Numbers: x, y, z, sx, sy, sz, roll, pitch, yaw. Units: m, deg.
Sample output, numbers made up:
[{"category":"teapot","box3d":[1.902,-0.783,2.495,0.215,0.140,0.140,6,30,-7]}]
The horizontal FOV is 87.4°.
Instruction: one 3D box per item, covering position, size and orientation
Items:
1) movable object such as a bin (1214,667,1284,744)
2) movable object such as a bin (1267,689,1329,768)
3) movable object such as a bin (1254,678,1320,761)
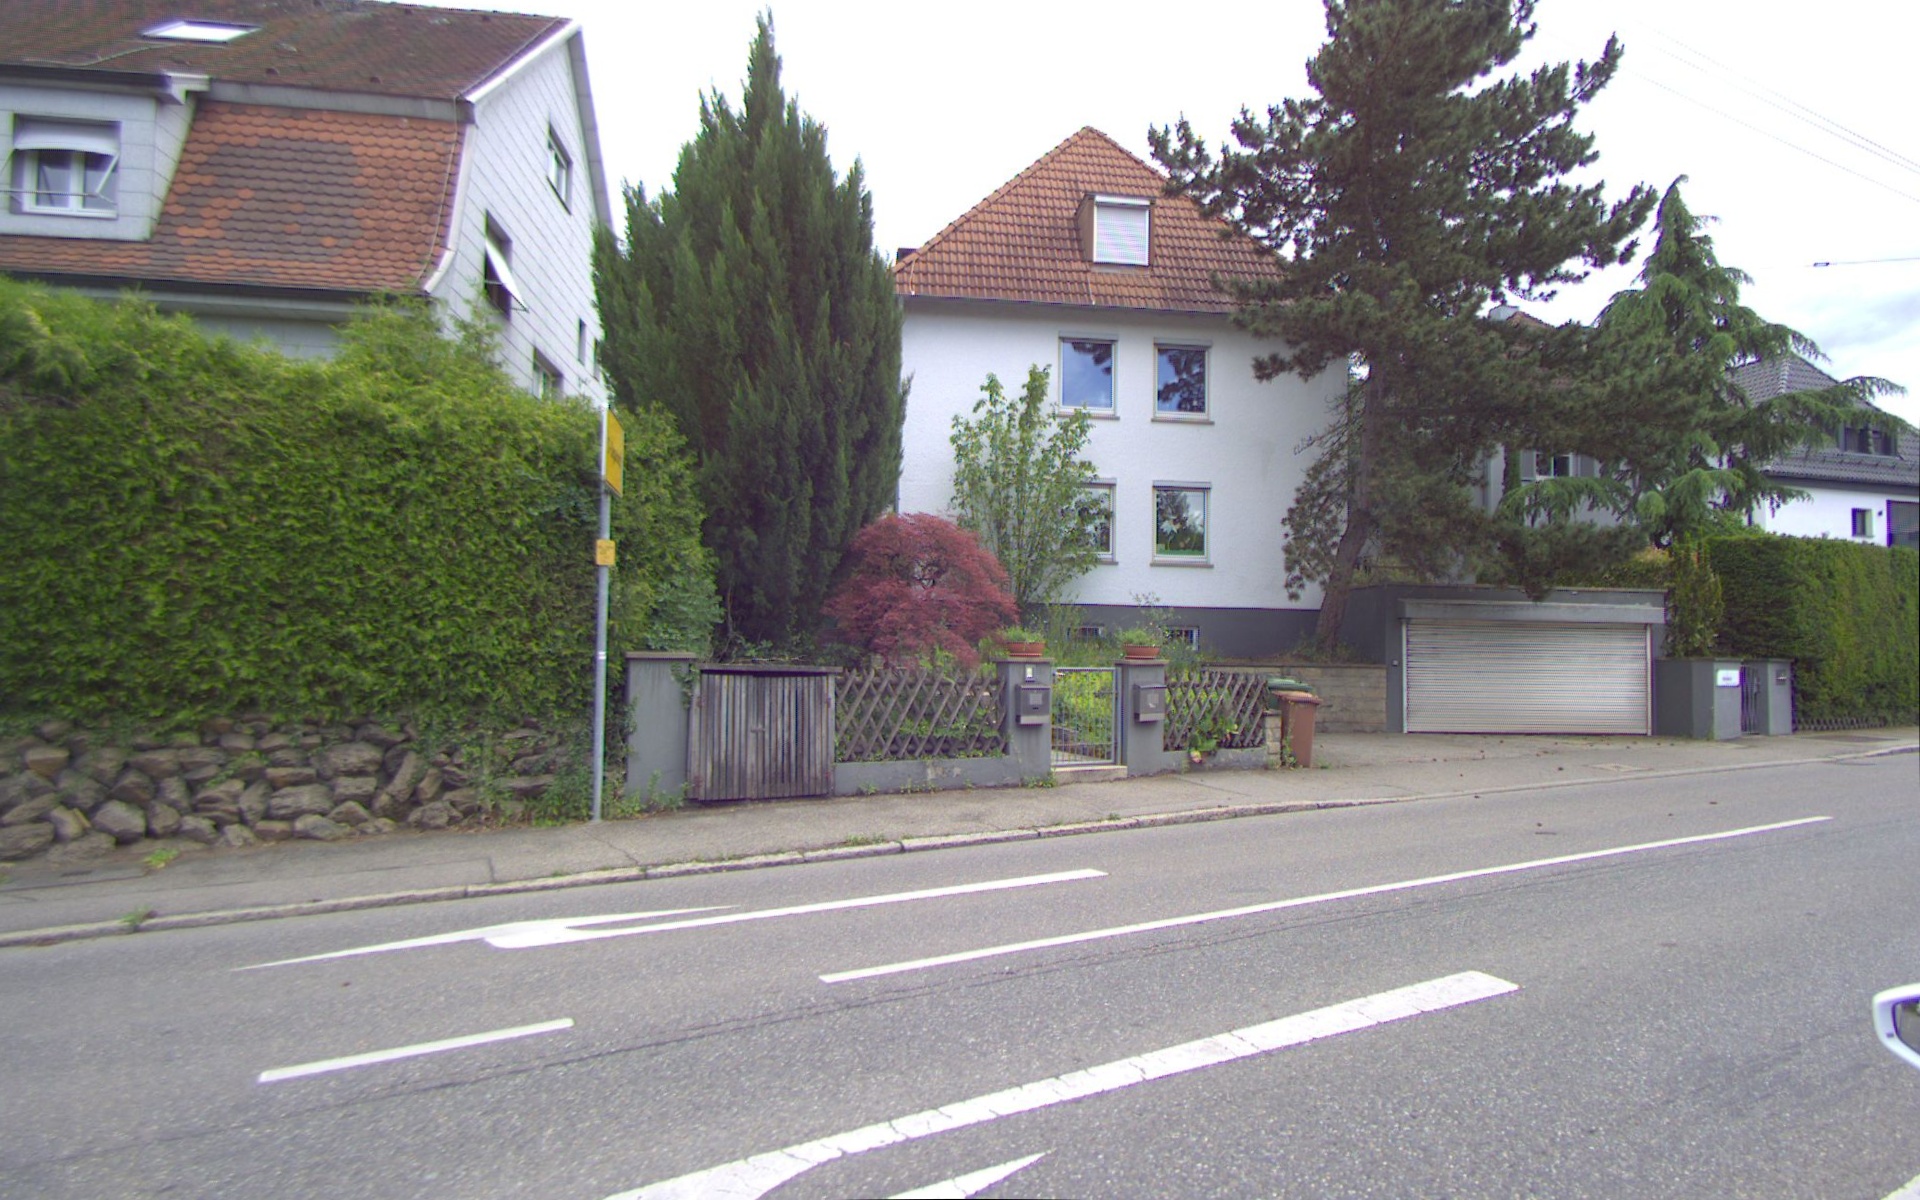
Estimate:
[{"category":"movable object such as a bin","box3d":[4.564,1.645,15.961,0.702,1.095,1.598,1,-2,3]},{"category":"movable object such as a bin","box3d":[4.307,1.627,12.818,0.634,0.954,0.465,1,-2,0]},{"category":"movable object such as a bin","box3d":[4.331,1.576,13.322,0.702,1.048,0.480,1,-2,0]}]
